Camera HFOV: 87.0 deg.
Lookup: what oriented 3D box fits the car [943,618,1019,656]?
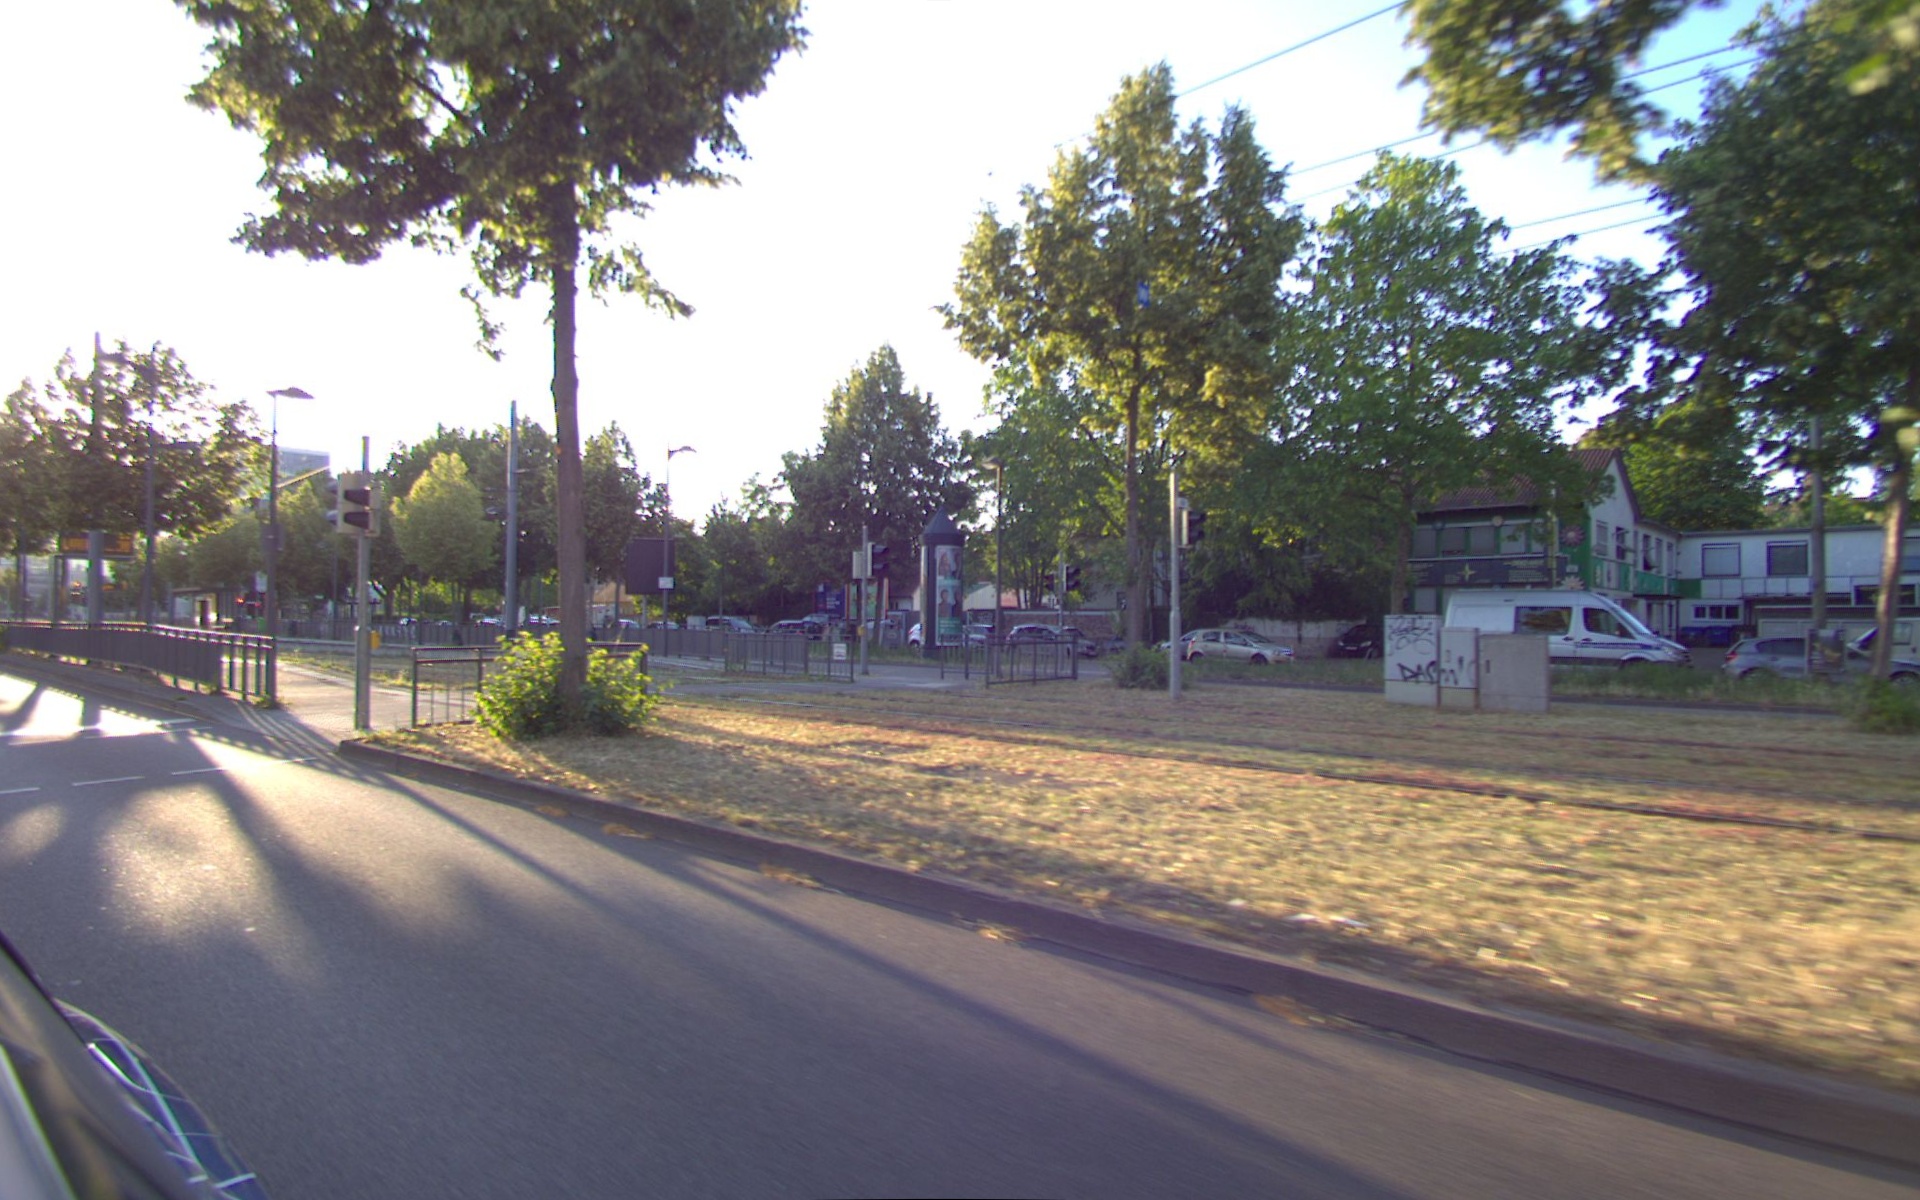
[{"bbox_3d":[1.129,2.001,56.050,1.971,2.029,4.002,2,-2,-45],"label":"car"}]

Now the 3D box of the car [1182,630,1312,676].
[{"bbox_3d":[10.397,1.887,36.793,4.098,1.512,1.972,0,-1,43],"label":"car"}]

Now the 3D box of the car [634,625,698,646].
[{"bbox_3d":[-18.325,2.197,63.004,4.089,1.210,1.972,-1,-2,43],"label":"car"}]

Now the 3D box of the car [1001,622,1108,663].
[{"bbox_3d":[3.762,1.649,40.584,4.053,1.543,1.790,-1,-2,43],"label":"car"}]

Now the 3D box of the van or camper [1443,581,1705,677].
[{"bbox_3d":[16.712,0.761,27.840,2.258,2.383,5.787,1,-2,-44],"label":"van or camper"}]

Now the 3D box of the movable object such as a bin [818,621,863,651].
[{"bbox_3d":[-5.845,1.749,49.541,1.701,1.422,1.393,-1,-2,42],"label":"movable object such as a bin"}]

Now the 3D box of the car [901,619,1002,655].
[{"bbox_3d":[-0.412,1.612,44.791,4.298,1.512,1.972,-1,-2,43],"label":"car"}]

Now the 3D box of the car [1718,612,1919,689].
[{"bbox_3d":[20.400,1.130,23.678,4.206,1.649,1.973,0,-2,40],"label":"car"}]

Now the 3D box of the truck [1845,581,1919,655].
[{"bbox_3d":[47.461,0.941,52.011,6.591,3.546,2.293,2,-2,-43],"label":"truck"}]

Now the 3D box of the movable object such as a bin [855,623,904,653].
[{"bbox_3d":[-3.768,1.771,47.473,1.724,1.383,1.536,-1,-2,42],"label":"movable object such as a bin"}]

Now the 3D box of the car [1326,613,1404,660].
[{"bbox_3d":[18.406,1.616,45.931,2.000,2.029,3.943,-1,-2,43],"label":"car"}]

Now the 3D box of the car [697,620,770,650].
[{"bbox_3d":[-12.953,1.980,57.830,4.297,1.598,1.972,-1,-2,43],"label":"car"}]

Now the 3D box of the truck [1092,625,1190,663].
[{"bbox_3d":[8.626,2.086,48.466,4.295,1.703,1.971,-1,-2,44],"label":"truck"}]

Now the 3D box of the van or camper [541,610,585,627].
[{"bbox_3d":[-50.728,2.330,129.340,4.811,2.029,2.004,-1,0,-39],"label":"van or camper"}]

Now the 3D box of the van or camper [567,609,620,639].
[{"bbox_3d":[-32.919,2.109,90.786,2.363,2.583,5.638,2,-2,-43],"label":"van or camper"}]

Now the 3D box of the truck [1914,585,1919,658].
[{"bbox_3d":[49.213,1.088,50.189,6.591,3.546,2.293,2,-2,-43],"label":"truck"}]

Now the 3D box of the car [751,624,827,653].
[{"bbox_3d":[-9.065,1.988,53.475,4.000,1.459,1.972,-1,-2,43],"label":"car"}]

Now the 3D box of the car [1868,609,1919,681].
[{"bbox_3d":[28.768,1.272,28.205,5.060,2.029,1.971,-1,-2,45],"label":"car"}]
